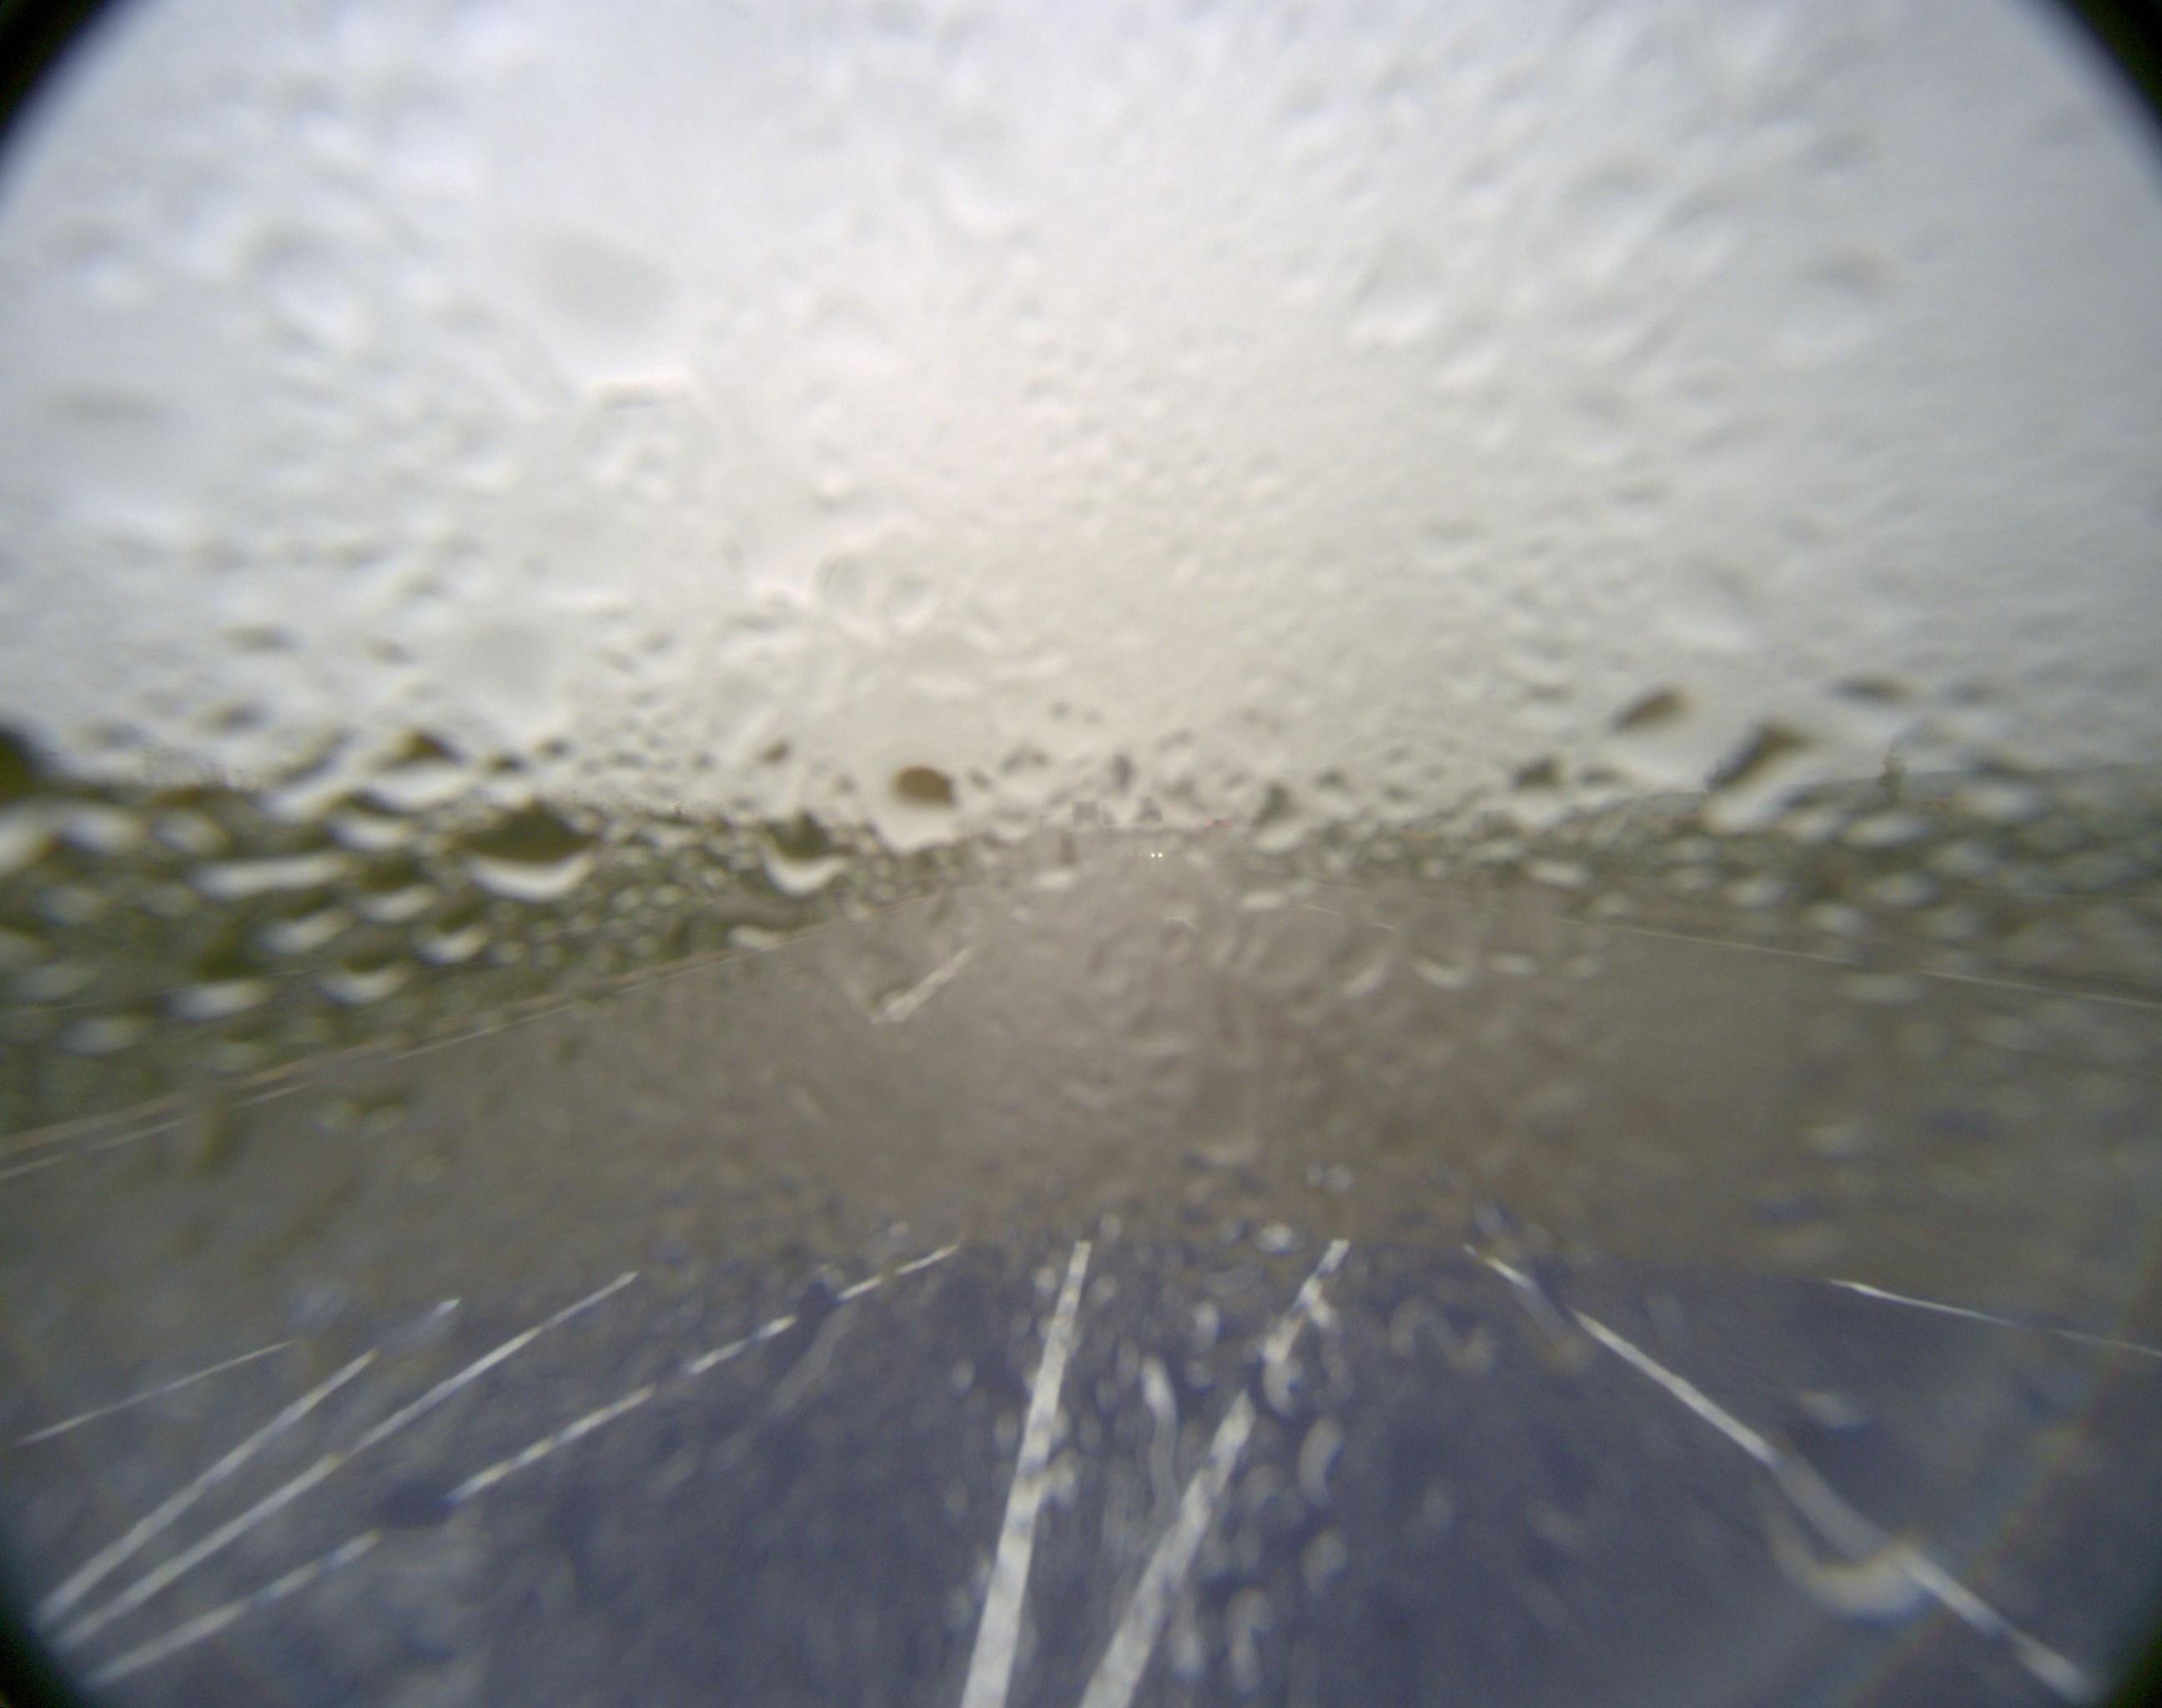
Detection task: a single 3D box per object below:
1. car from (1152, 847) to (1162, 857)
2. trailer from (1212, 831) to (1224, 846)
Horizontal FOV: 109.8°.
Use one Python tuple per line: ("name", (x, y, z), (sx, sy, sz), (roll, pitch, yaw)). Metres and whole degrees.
("car", (13.230, -0.374, 132.474), (1.700, 1.543, 3.734), (-2, 1, 4))
("trailer", (37.278, -4.205, 206.888), (1.998, 4.016, 14.306), (-2, 1, 5))
